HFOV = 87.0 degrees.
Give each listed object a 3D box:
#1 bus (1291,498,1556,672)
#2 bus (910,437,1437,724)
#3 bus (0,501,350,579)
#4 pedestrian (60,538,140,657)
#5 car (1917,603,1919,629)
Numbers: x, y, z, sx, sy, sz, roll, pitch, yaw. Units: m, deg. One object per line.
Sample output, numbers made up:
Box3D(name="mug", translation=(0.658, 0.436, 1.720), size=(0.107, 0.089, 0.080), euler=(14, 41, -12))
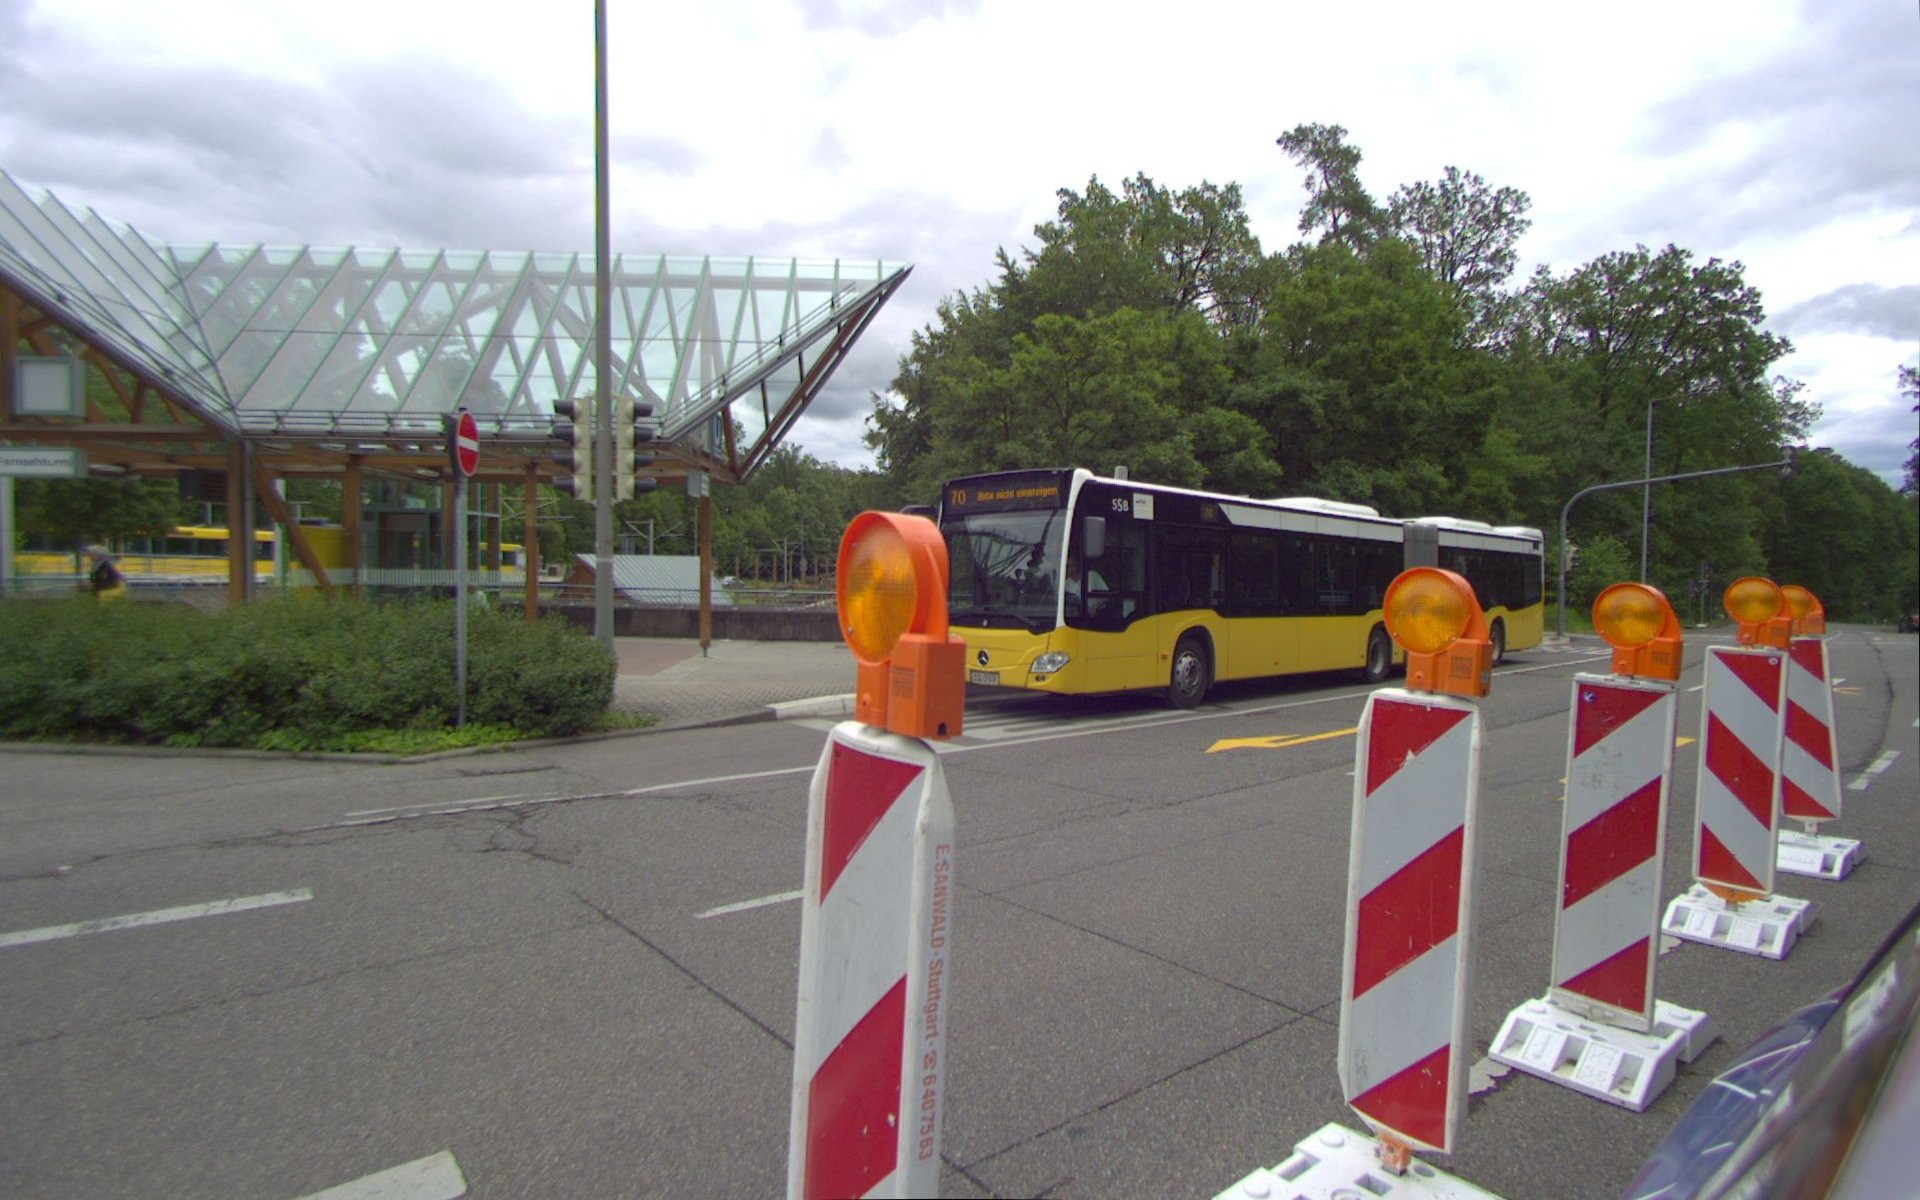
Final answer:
Box3D(name="bus", translation=(10.414, -0.323, 22.240), size=(7.630, 3.198, 2.804), euler=(0, 1, -45))
Box3D(name="bus", translation=(4.025, -0.269, 15.907), size=(10.344, 3.198, 2.805), euler=(0, 1, -44))
Box3D(name="bus", translation=(-43.150, -2.975, 56.231), size=(3.921, 3.527, 18.497), euler=(0, 1, 14))
Box3D(name="pedestrian", translation=(-13.212, -0.037, 15.556), size=(0.658, 1.779, 0.654), euler=(-1, 0, 11))
Box3D(name="car", translation=(55.493, 0.895, 57.326), size=(1.745, 1.347, 3.940), euler=(0, 1, 42))
